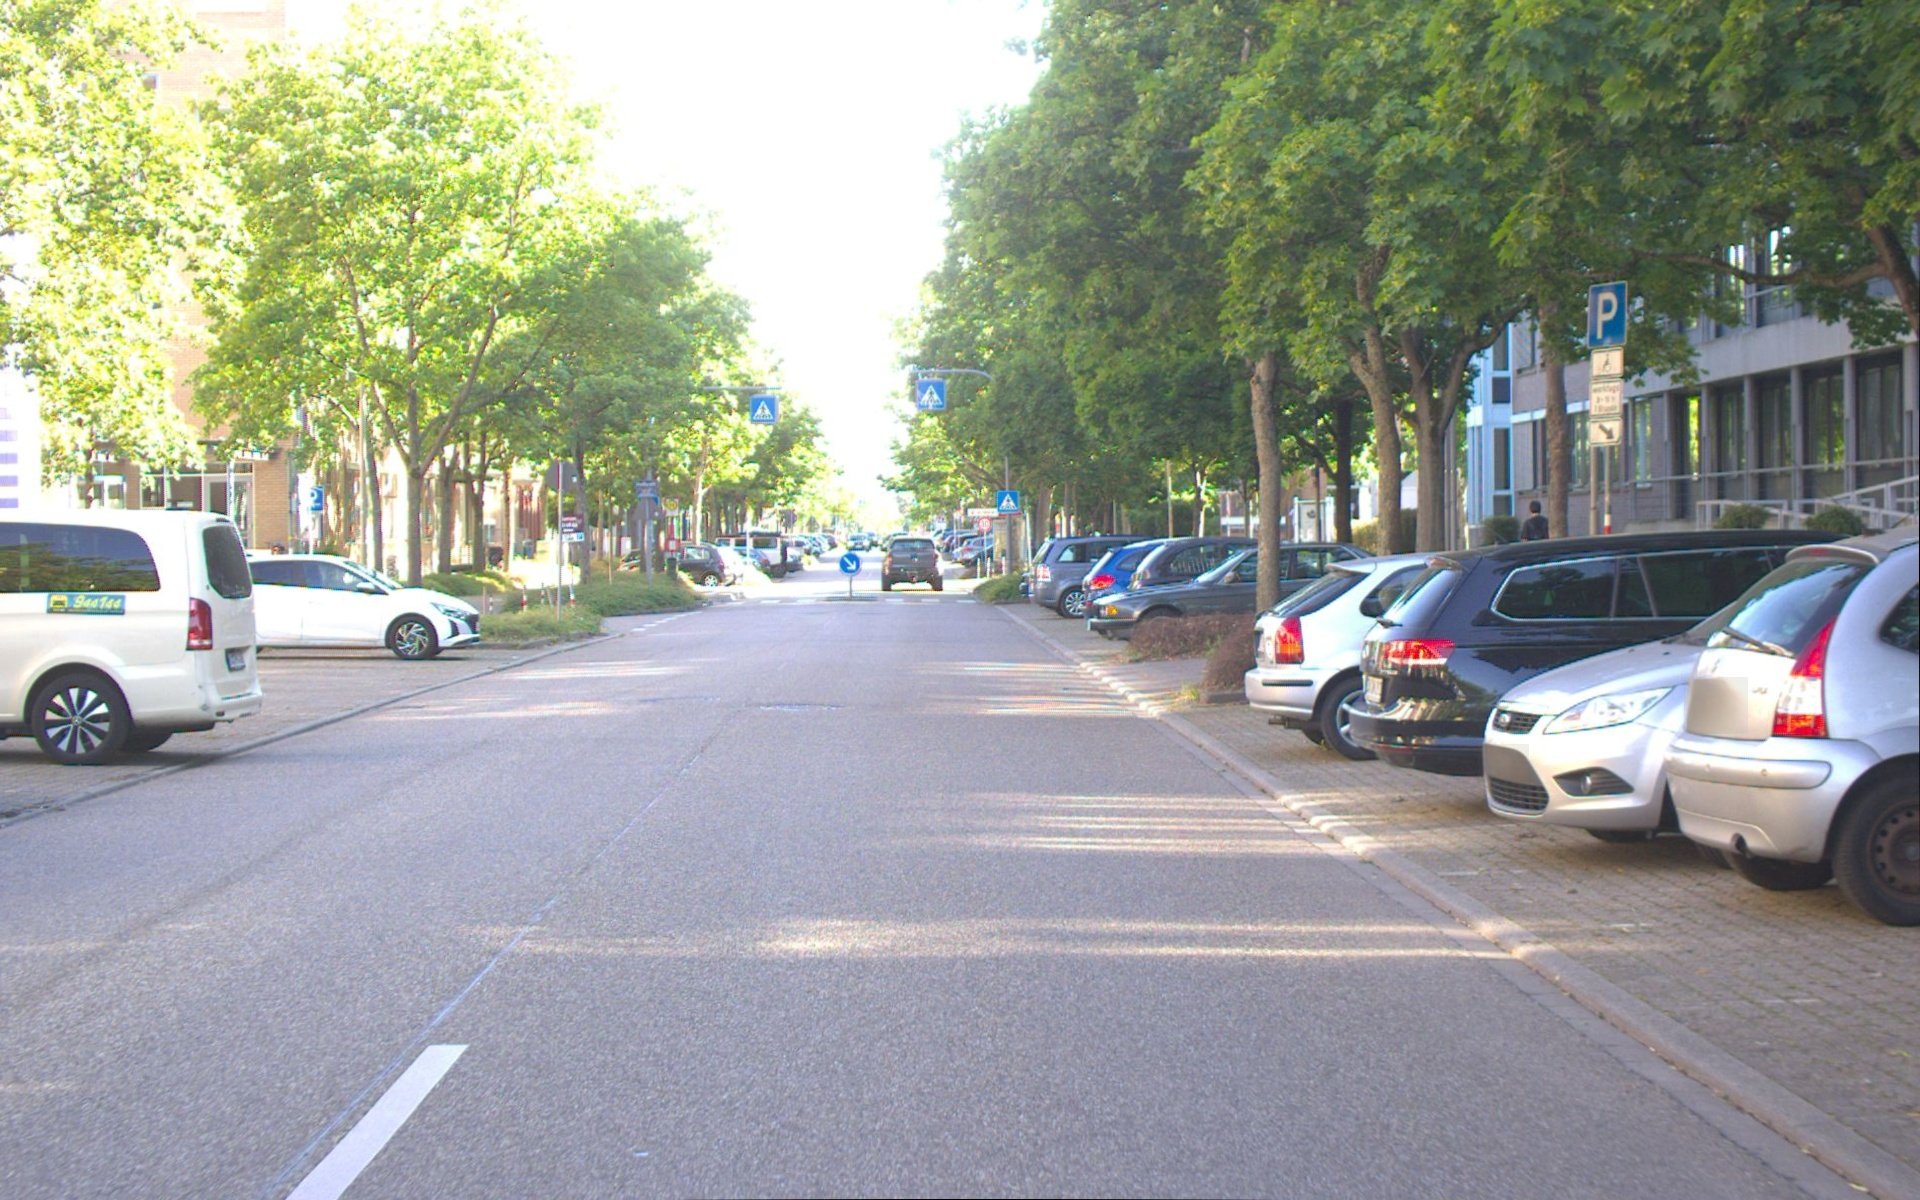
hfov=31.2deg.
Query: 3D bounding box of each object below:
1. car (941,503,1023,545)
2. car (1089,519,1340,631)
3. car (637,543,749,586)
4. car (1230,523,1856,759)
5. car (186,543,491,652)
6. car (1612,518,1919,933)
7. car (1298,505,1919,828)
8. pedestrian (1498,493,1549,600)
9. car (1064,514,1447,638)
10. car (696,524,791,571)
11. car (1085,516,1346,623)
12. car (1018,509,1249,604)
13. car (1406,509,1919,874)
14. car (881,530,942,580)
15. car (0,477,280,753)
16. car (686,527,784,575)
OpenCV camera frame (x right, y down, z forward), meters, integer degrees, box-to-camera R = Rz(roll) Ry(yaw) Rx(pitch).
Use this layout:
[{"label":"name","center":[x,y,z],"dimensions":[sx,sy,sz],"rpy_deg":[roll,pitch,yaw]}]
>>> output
[{"label":"car","center":[1.101,-3.775,171.639],"dimensions":[3.986,2.007,2.000],"rpy_deg":[-1,1,-2]},{"label":"car","center":[3.818,-0.386,51.978],"dimensions":[3.641,1.509,1.813],"rpy_deg":[-2,1,1]},{"label":"car","center":[-9.567,-1.286,122.949],"dimensions":[3.847,1.468,1.813],"rpy_deg":[1,1,-9]},{"label":"car","center":[3.978,0.257,23.874],"dimensions":[3.969,1.415,1.711],"rpy_deg":[-2,1,-2]},{"label":"car","center":[-8.669,-0.052,48.196],"dimensions":[3.986,1.481,1.807],"rpy_deg":[0,1,-2]},{"label":"car","center":[4.651,0.390,13.563],"dimensions":[3.742,1.488,1.617],"rpy_deg":[-2,1,-4]},{"label":"car","center":[4.255,0.290,18.613],"dimensions":[4.591,1.488,1.763],"rpy_deg":[-3,1,-1]},{"label":"pedestrian","center":[9.303,-0.886,56.781],"dimensions":[0.607,1.739,1.191],"rpy_deg":[-1,1,-1]},{"label":"car","center":[3.888,-0.335,45.821],"dimensions":[4.824,1.415,2.032],"rpy_deg":[-2,1,-2]},{"label":"car","center":[-9.647,-2.339,153.196],"dimensions":[3.987,2.007,2.000],"rpy_deg":[-1,1,3]},{"label":"car","center":[3.997,-0.493,54.305],"dimensions":[3.949,1.509,1.813],"rpy_deg":[-2,1,1]},{"label":"car","center":[3.424,-0.875,68.459],"dimensions":[4.350,1.698,1.813],"rpy_deg":[-2,1,-3]},{"label":"car","center":[4.411,0.329,15.937],"dimensions":[4.285,1.488,2.004],"rpy_deg":[-2,1,-4]},{"label":"car","center":[-1.628,-1.510,115.439],"dimensions":[1.993,1.634,4.000],"rpy_deg":[1,1,-1]},{"label":"car","center":[-7.918,0.059,25.728],"dimensions":[5.257,1.960,1.943],"rpy_deg":[1,1,-1]},{"label":"car","center":[-9.816,-2.149,150.220],"dimensions":[3.987,2.007,2.000],"rpy_deg":[-1,1,3]}]
